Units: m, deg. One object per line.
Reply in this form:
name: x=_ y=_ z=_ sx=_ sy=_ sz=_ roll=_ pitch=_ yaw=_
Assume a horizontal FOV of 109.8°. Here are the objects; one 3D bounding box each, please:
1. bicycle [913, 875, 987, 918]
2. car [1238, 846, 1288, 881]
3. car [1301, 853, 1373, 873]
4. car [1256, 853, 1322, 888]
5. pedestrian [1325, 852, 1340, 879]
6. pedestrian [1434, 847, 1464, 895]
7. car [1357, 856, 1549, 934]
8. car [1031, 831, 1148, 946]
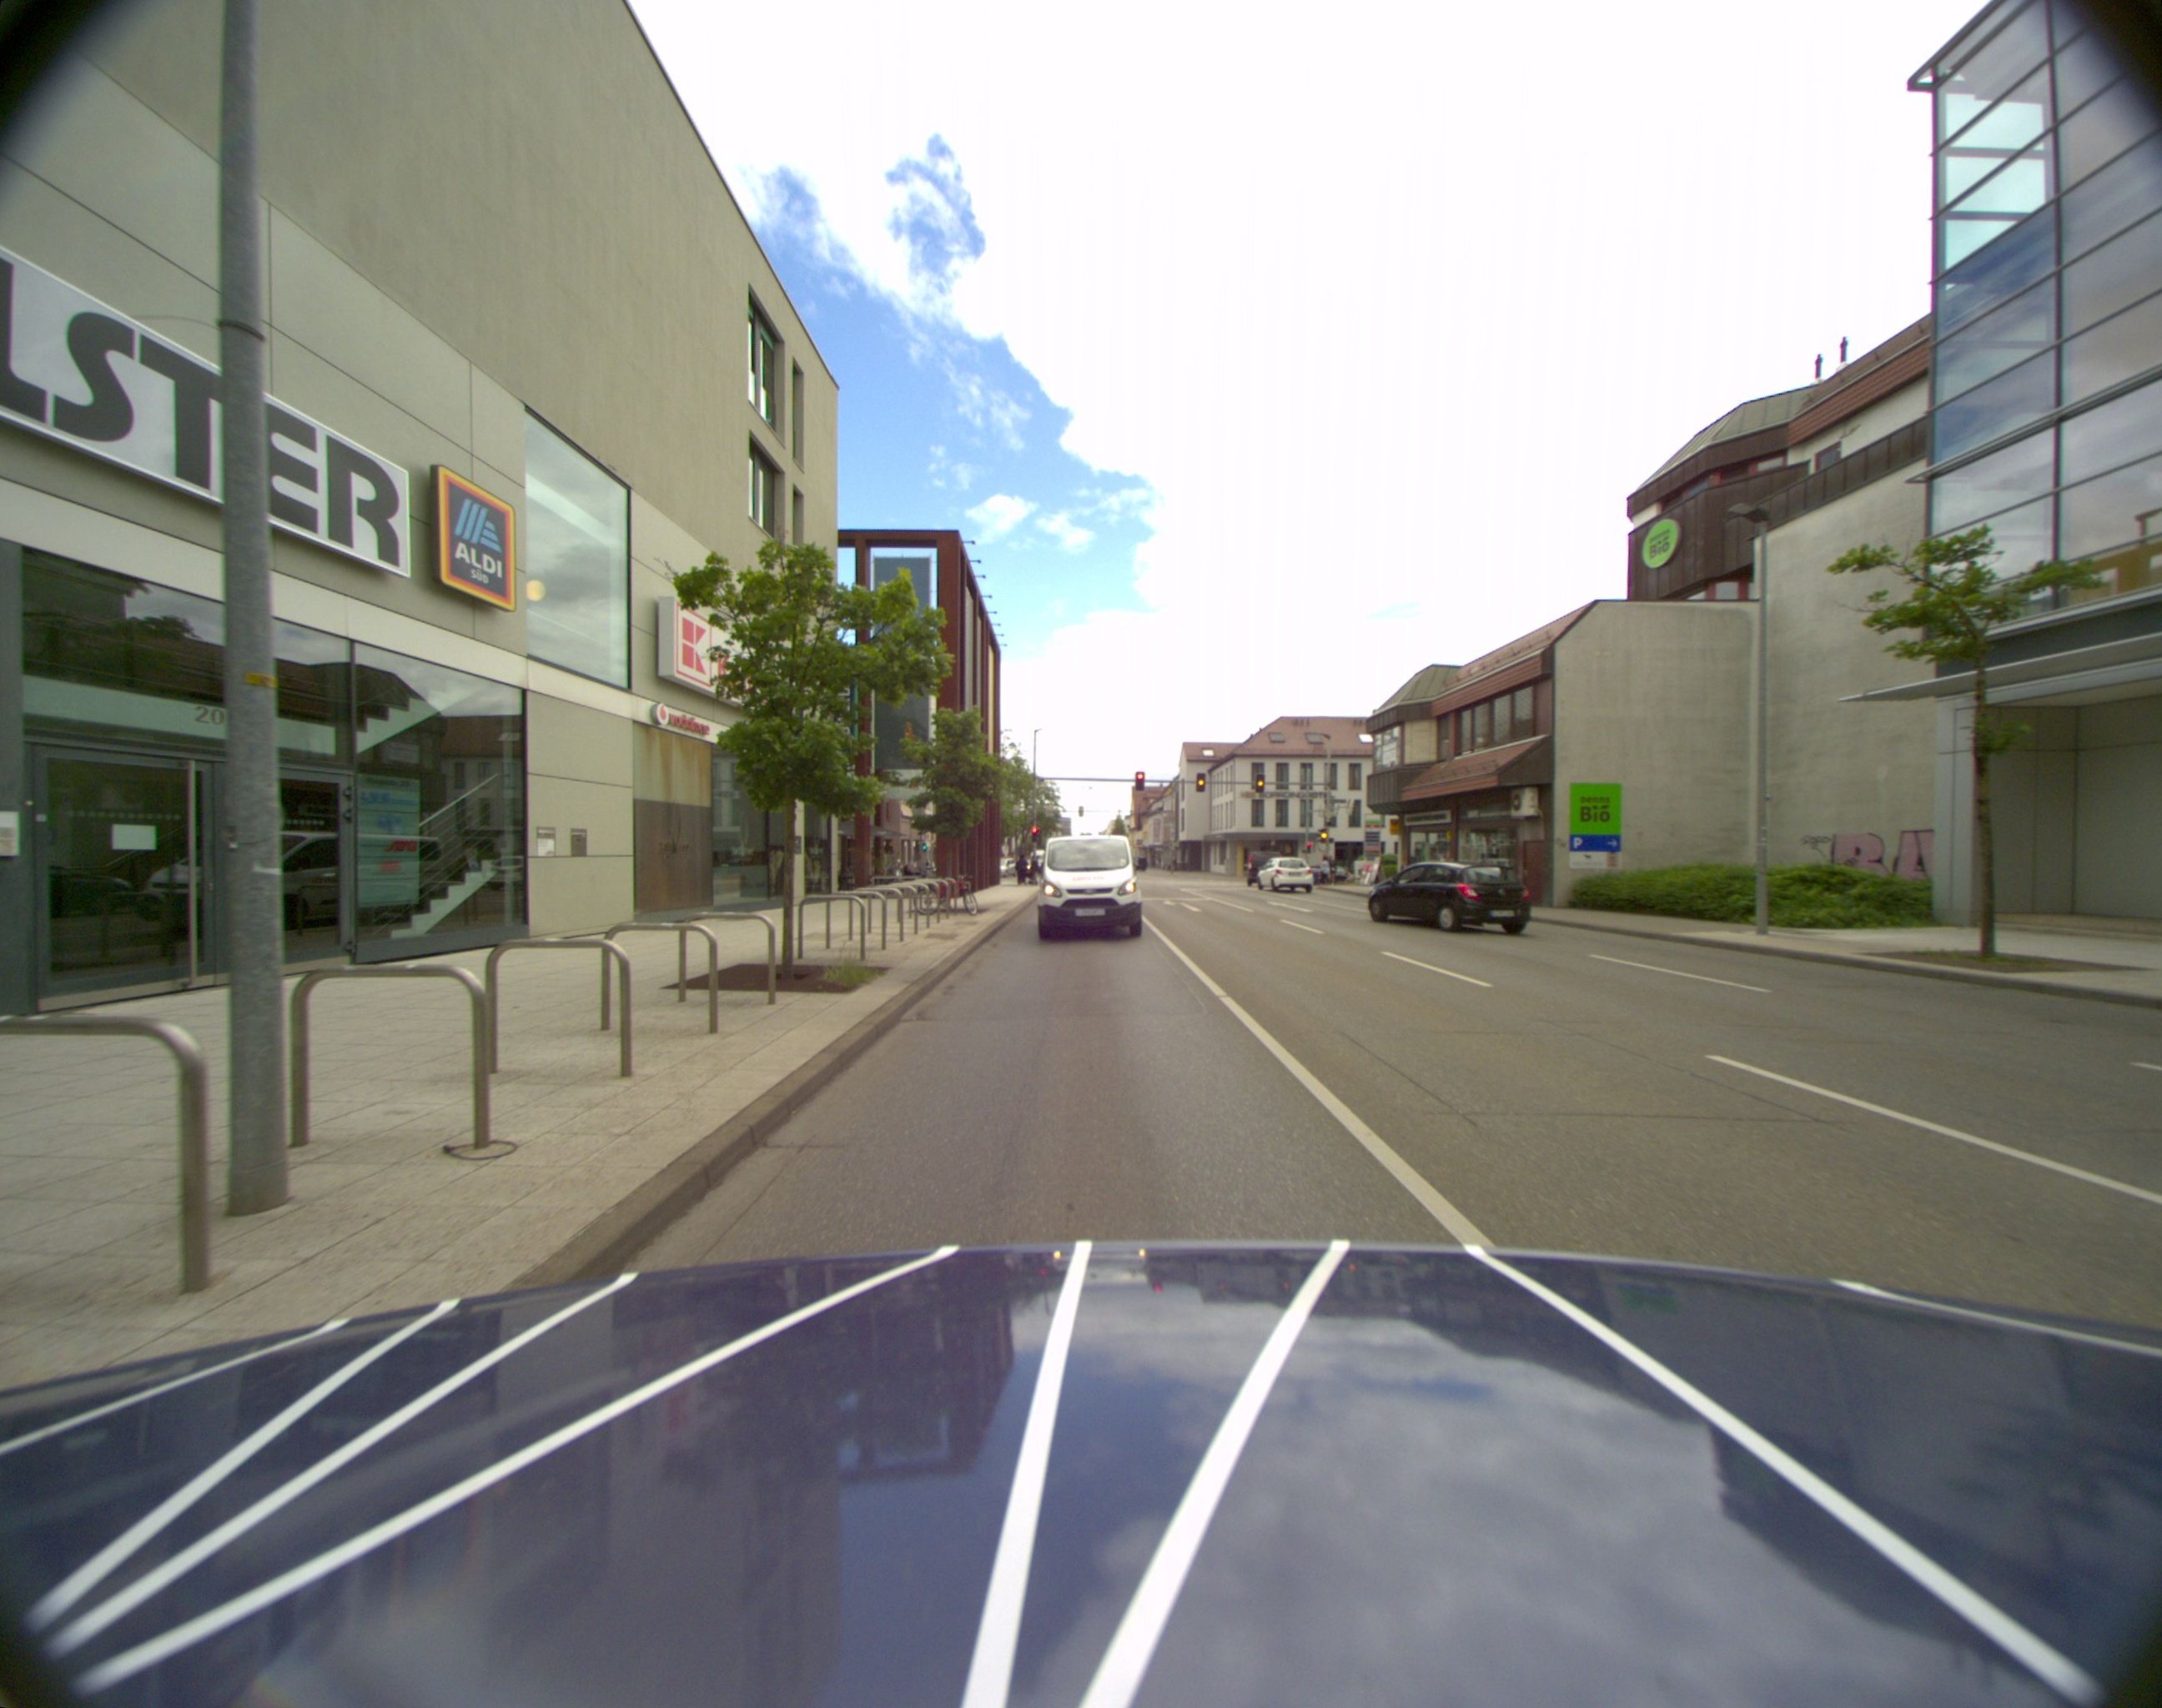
bicycle: x=-3.212 y=1.037 z=18.701 sx=1.745 sy=1.015 sz=0.451 roll=0 pitch=1 yaw=-6
car: x=10.151 y=0.510 z=42.617 sx=1.937 sy=1.883 sz=4.000 roll=0 pitch=0 yaw=1
car: x=16.309 y=0.541 z=48.497 sx=3.998 sy=1.234 sz=1.740 roll=0 pitch=0 yaw=-4
car: x=9.276 y=0.708 z=34.195 sx=1.937 sy=1.458 sz=4.000 roll=0 pitch=0 yaw=1
pedestrian: x=14.190 y=0.668 z=42.805 sx=0.555 sy=1.507 sz=0.582 roll=0 pitch=1 yaw=-32
pedestrian: x=12.621 y=0.574 z=26.066 sx=0.702 sy=1.614 sz=0.693 roll=0 pitch=1 yaw=0
car: x=7.950 y=0.795 z=16.725 sx=1.804 sy=1.458 sz=3.996 roll=0 pitch=0 yaw=-10
car: x=0.179 y=0.588 z=16.047 sx=2.000 sy=1.976 sz=5.000 roll=-2 pitch=1 yaw=1
